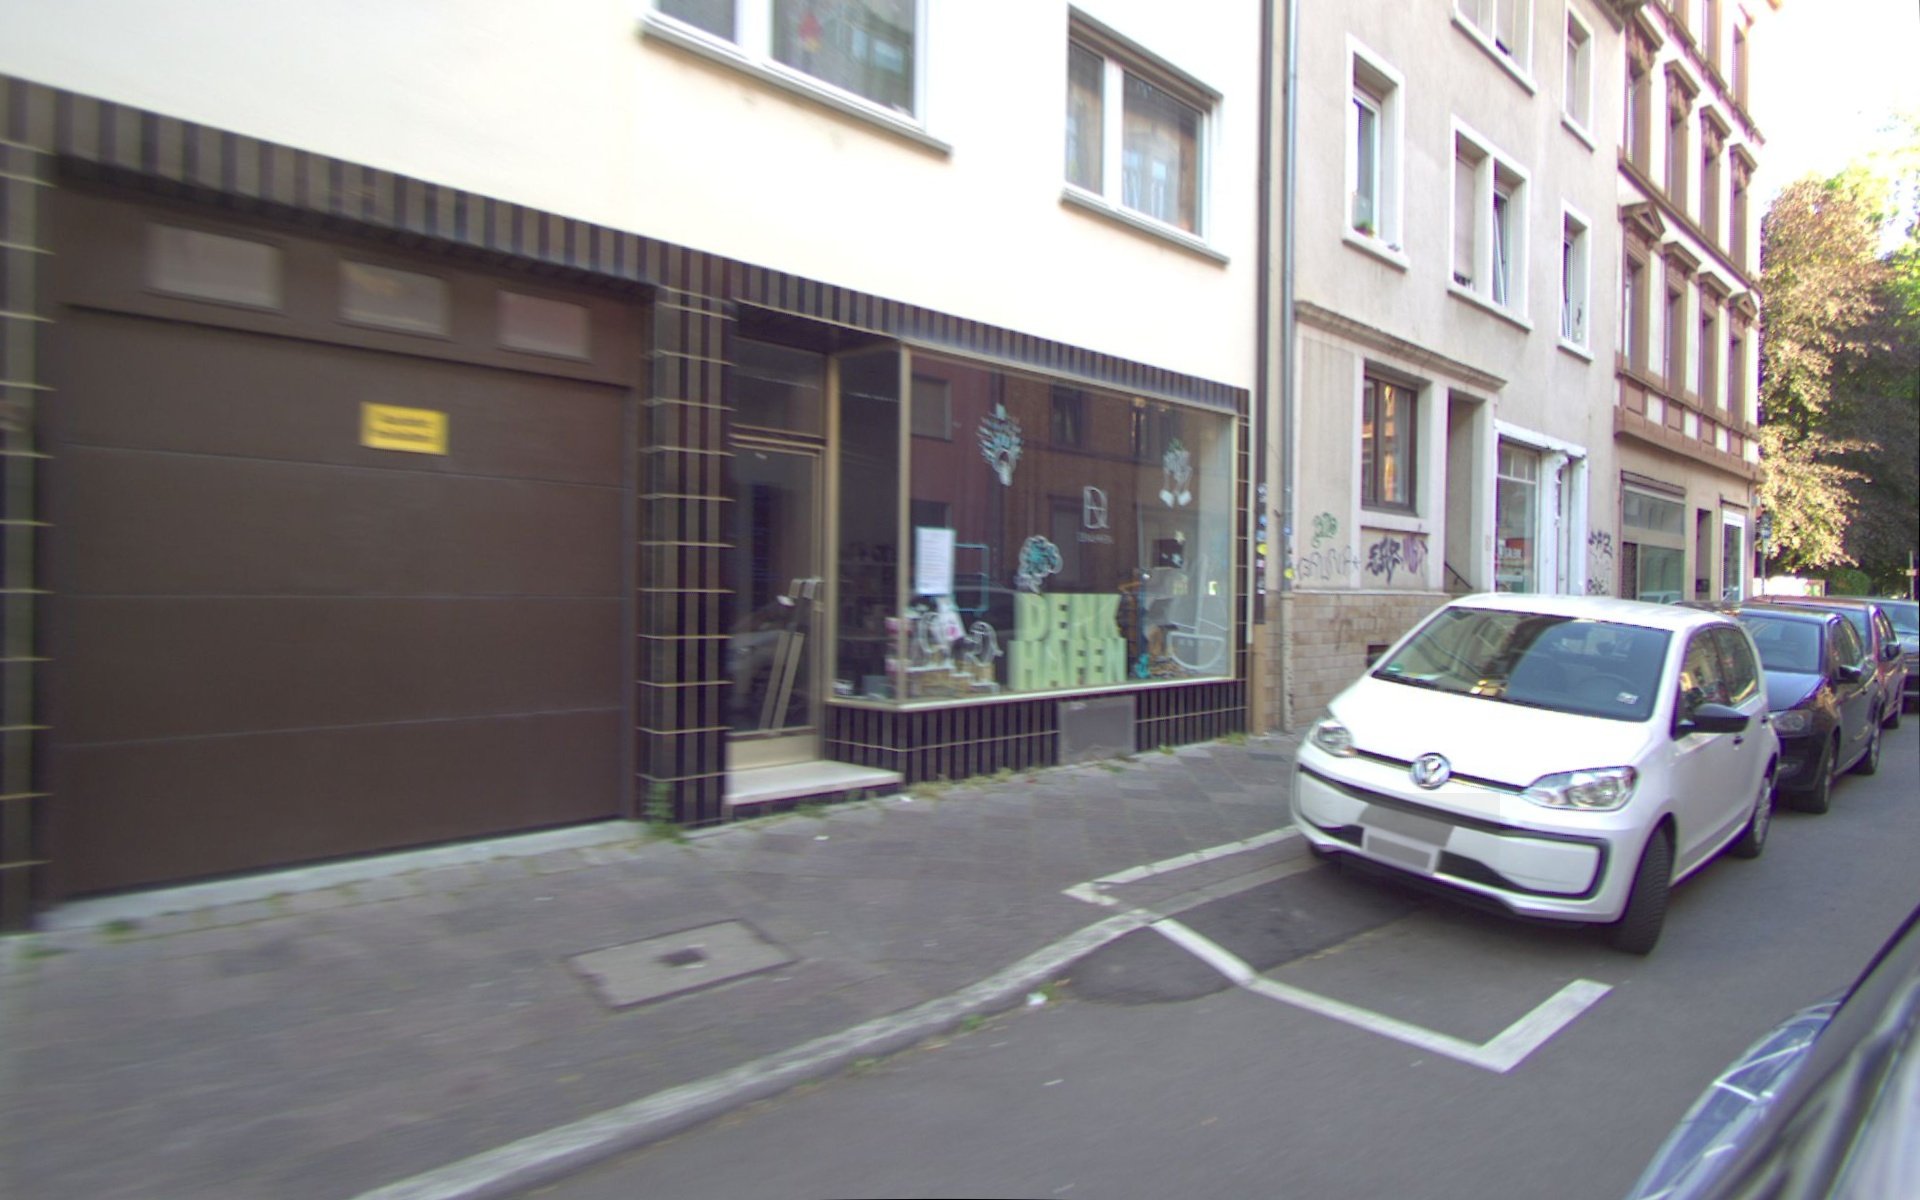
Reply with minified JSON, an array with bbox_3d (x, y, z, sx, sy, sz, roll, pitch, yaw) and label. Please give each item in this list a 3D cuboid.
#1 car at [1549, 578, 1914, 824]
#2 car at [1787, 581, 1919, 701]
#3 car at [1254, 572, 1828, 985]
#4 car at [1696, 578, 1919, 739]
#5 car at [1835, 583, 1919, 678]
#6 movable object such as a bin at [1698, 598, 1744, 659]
[{"bbox_3d":[6.553,0.639,8.445,3.869,1.525,1.679,0,3,-42],"label":"car"},{"bbox_3d":[13.810,0.540,15.072,3.953,1.525,1.746,0,3,-43],"label":"car"},{"bbox_3d":[3.509,0.671,5.793,3.869,1.525,1.679,0,3,-42],"label":"car"},{"bbox_3d":[10.214,0.569,11.941,4.112,1.525,1.601,0,3,-42],"label":"car"},{"bbox_3d":[17.394,0.519,18.347,4.282,1.525,1.747,0,3,-42],"label":"car"},{"bbox_3d":[13.722,0.506,18.251,0.583,1.052,0.515,0,2,-40],"label":"movable object such as a bin"}]
